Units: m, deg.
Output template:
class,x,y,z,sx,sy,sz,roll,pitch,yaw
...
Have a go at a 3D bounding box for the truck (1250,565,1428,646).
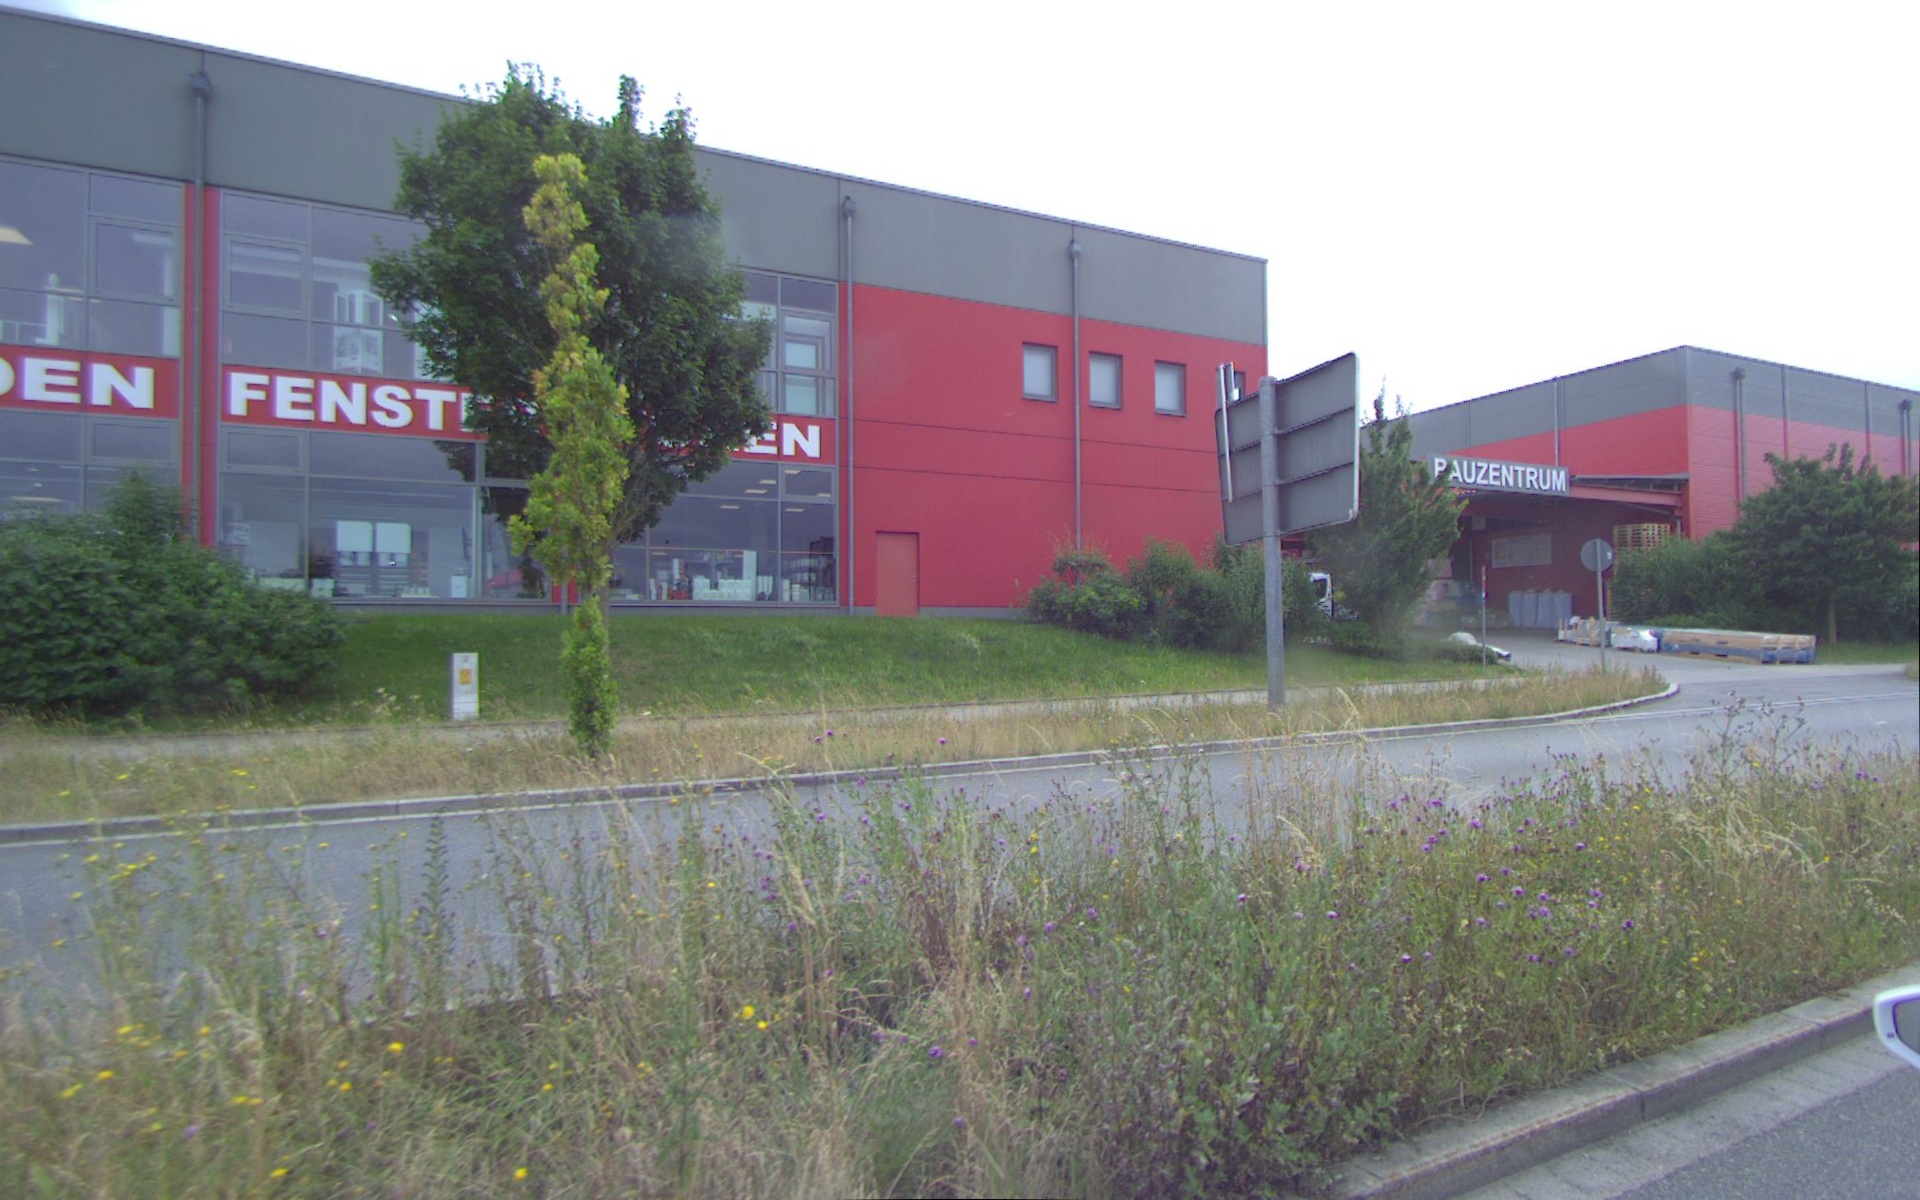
class,x,y,z,sx,sy,sz,roll,pitch,yaw
truck,12.615,0.156,33.377,5.828,2.521,2.027,1,2,-25
